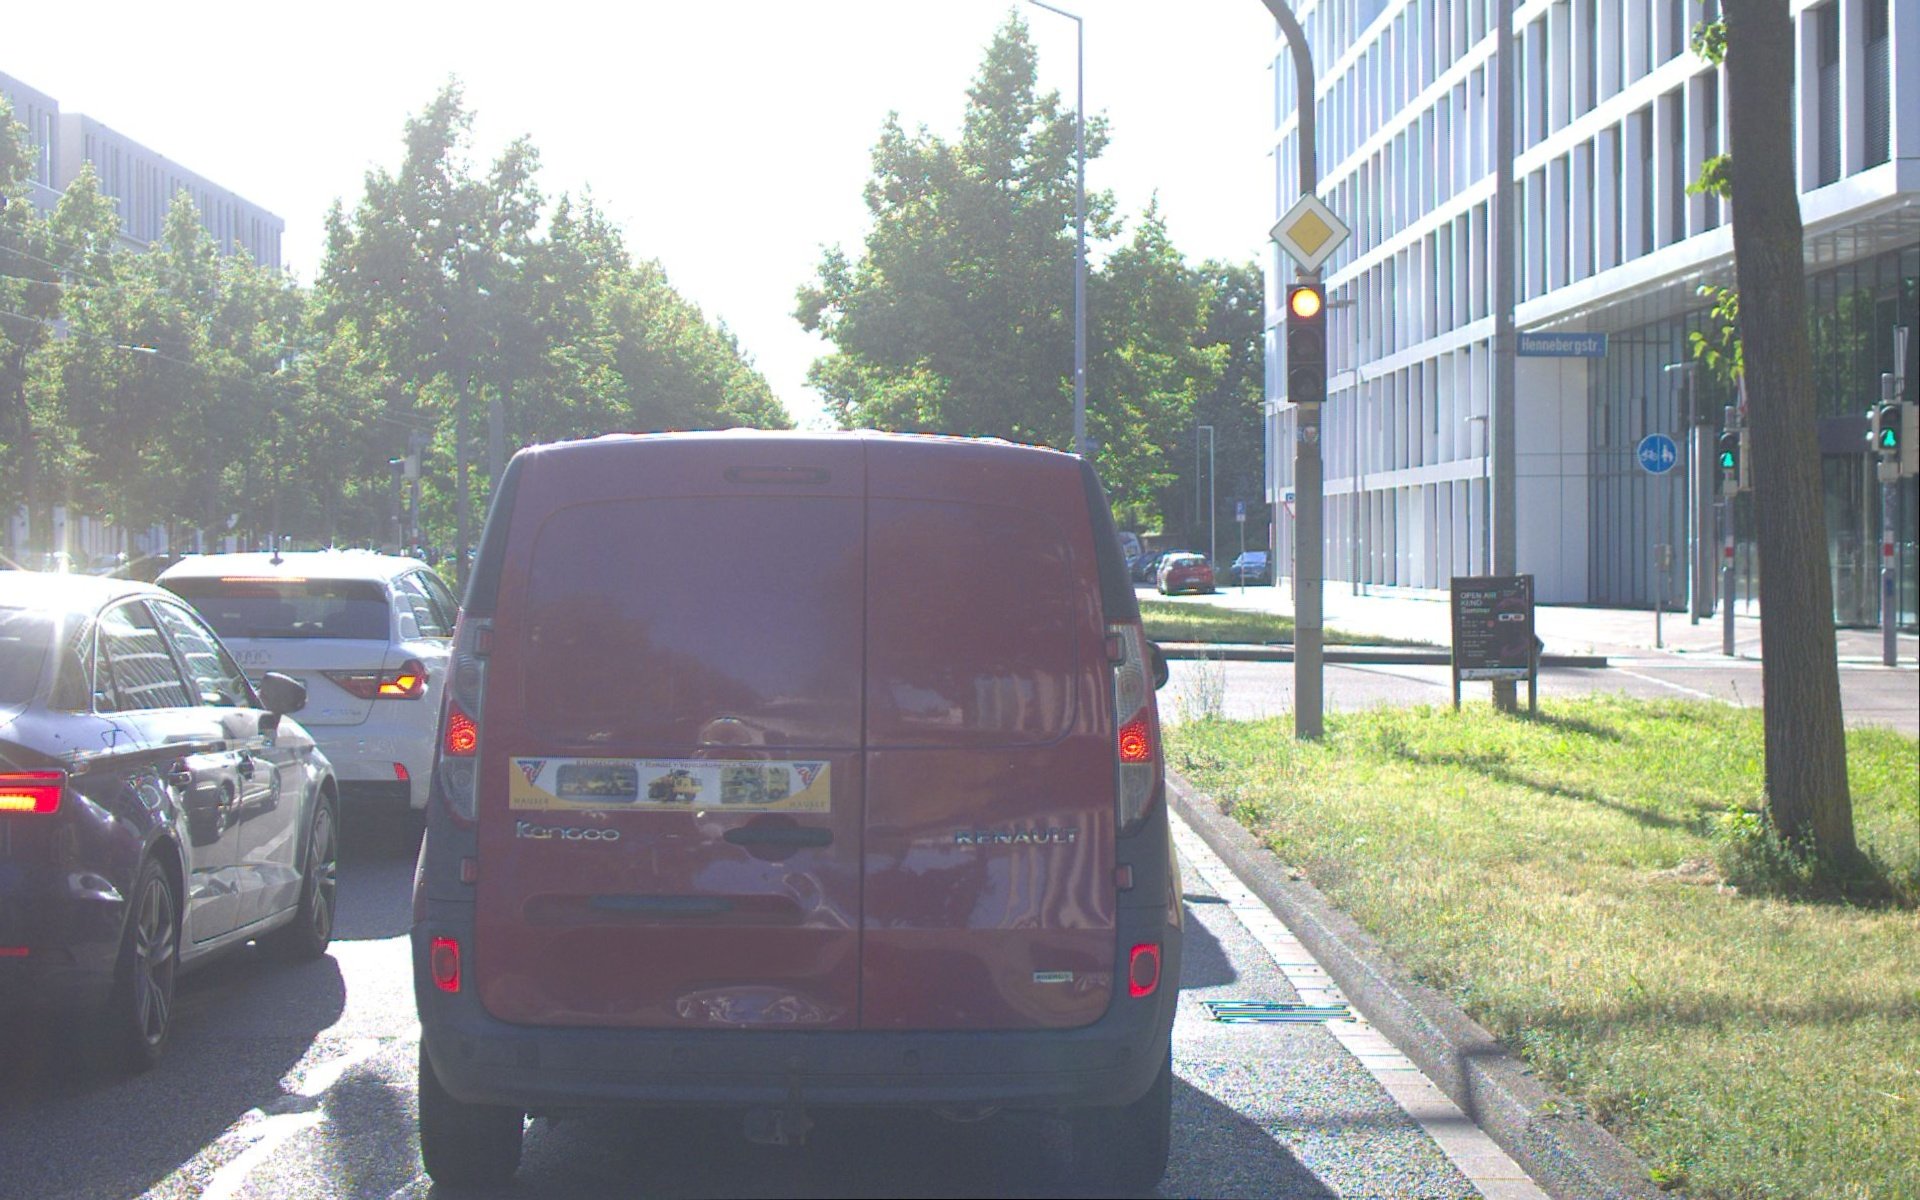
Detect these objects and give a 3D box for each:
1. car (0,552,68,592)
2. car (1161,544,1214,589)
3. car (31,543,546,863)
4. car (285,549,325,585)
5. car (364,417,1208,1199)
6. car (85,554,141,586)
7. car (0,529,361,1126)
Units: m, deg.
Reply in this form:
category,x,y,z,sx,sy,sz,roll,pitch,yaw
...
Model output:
category,x,y,z,sx,sy,sz,roll,pitch,yaw
car,-35.934,-1.094,133.341,1.776,1.523,3.806,0,1,-1
car,8.457,-1.255,127.873,1.758,1.606,3.903,0,1,1
car,-3.267,0.430,17.511,1.808,1.430,4.113,0,1,0
car,-37.420,-1.886,196.422,1.728,2.007,4.001,0,1,-3
car,-0.369,0.462,9.431,1.808,1.788,4.113,0,1,0
car,-36.766,-1.311,149.226,1.580,1.337,3.712,0,1,-1
car,-3.153,0.542,10.822,1.808,1.522,4.113,0,1,0
